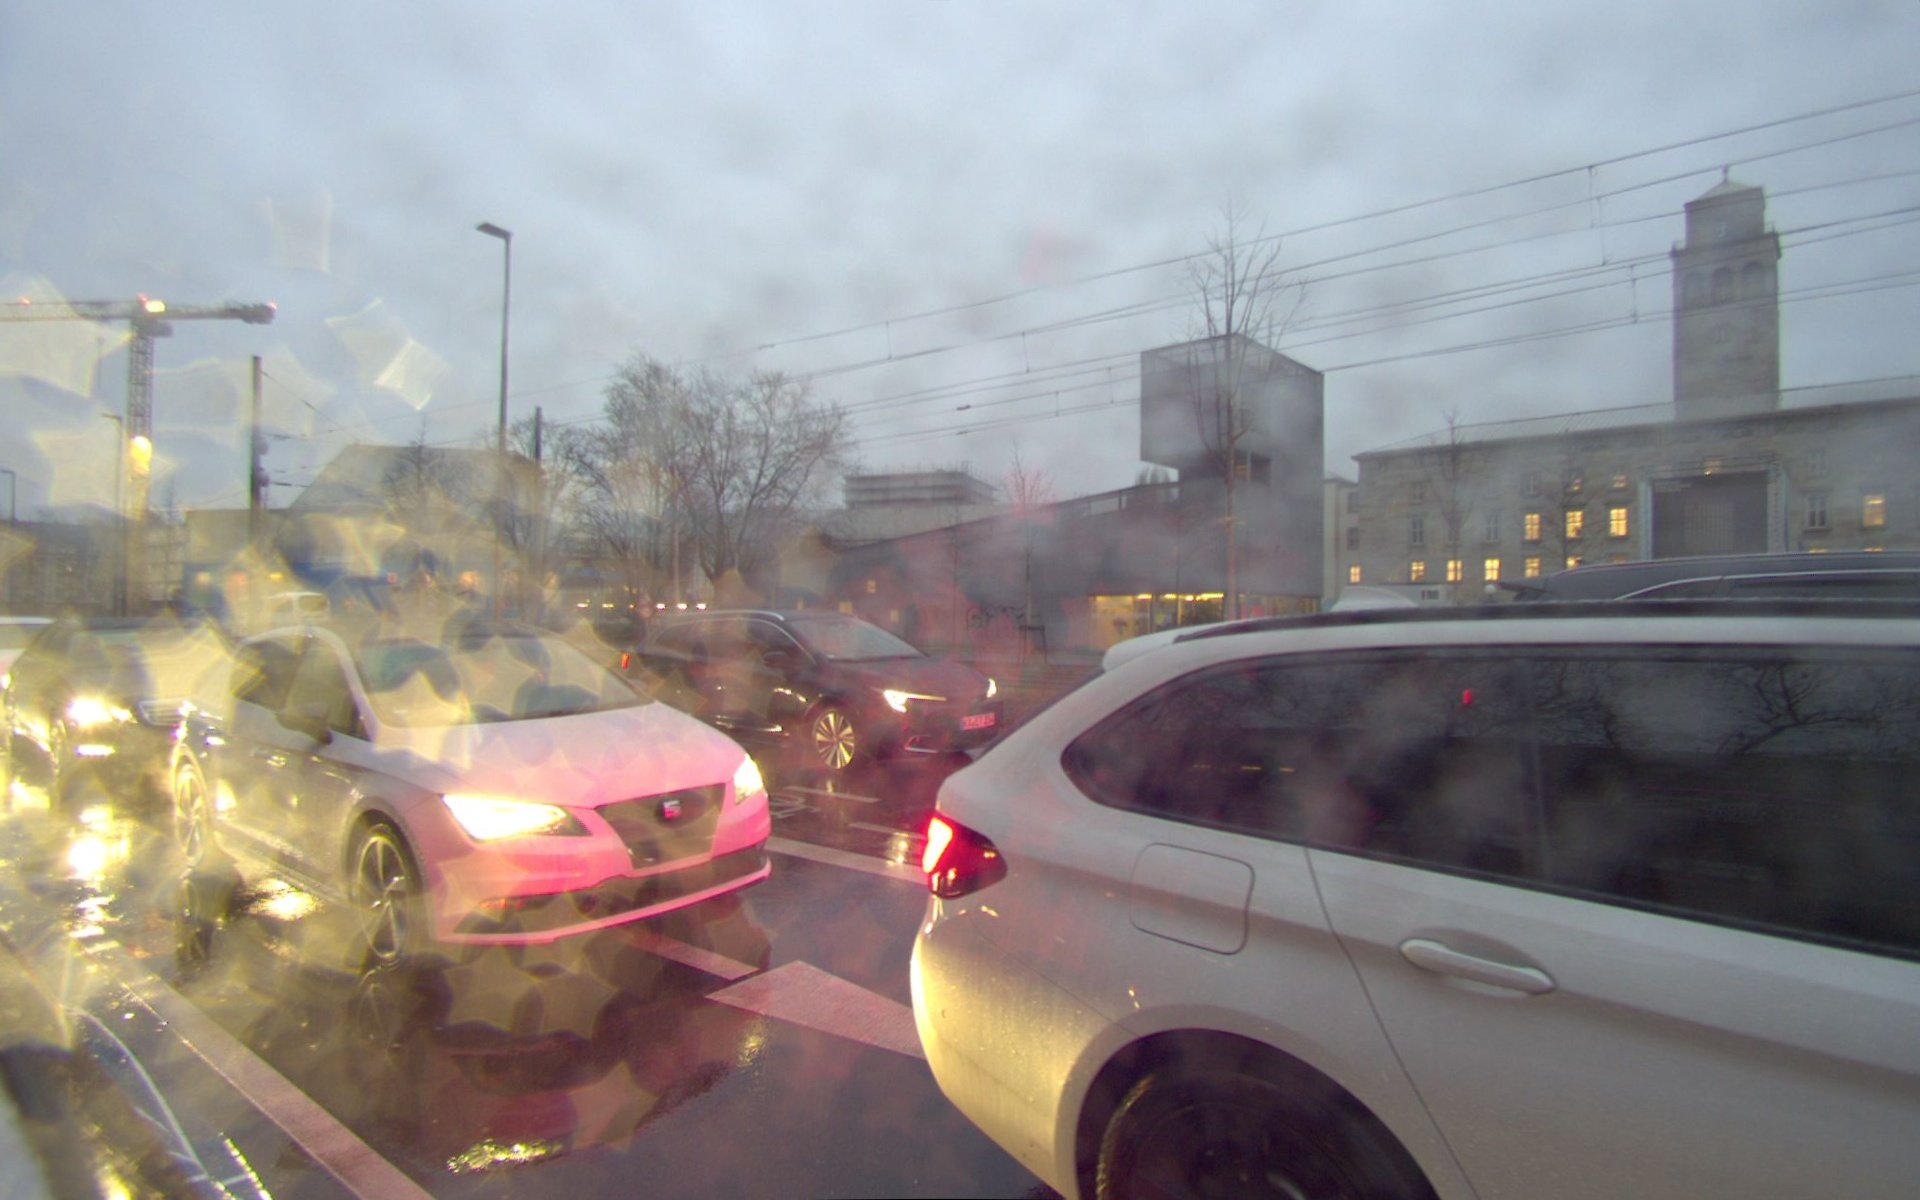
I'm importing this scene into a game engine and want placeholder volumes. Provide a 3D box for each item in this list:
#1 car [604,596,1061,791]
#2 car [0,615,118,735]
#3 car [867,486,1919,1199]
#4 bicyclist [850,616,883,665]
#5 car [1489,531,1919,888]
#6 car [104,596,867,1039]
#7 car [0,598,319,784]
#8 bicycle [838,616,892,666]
[{"bbox_3d":[-1.440,0.754,10.083,4.659,1.519,1.830,0,-1,39],"label":"car"},{"bbox_3d":[-14.270,1.040,15.210,3.998,1.586,1.882,-1,0,41],"label":"car"},{"bbox_3d":[2.154,0.628,1.617,4.557,1.498,1.996,-1,-2,41],"label":"car"},{"bbox_3d":[-3.465,1.497,37.342,0.960,1.746,0.754,1,1,38],"label":"bicyclist"},{"bbox_3d":[5.224,0.496,5.006,4.289,1.596,1.946,-1,-1,42],"label":"car"},{"bbox_3d":[-2.836,0.773,5.588,4.497,1.498,1.926,-1,0,37],"label":"car"},{"bbox_3d":[-8.530,0.788,10.393,4.501,1.498,1.974,-1,-2,39],"label":"car"},{"bbox_3d":[-3.530,1.499,37.392,2.061,1.746,0.754,1,1,39],"label":"bicycle"}]
